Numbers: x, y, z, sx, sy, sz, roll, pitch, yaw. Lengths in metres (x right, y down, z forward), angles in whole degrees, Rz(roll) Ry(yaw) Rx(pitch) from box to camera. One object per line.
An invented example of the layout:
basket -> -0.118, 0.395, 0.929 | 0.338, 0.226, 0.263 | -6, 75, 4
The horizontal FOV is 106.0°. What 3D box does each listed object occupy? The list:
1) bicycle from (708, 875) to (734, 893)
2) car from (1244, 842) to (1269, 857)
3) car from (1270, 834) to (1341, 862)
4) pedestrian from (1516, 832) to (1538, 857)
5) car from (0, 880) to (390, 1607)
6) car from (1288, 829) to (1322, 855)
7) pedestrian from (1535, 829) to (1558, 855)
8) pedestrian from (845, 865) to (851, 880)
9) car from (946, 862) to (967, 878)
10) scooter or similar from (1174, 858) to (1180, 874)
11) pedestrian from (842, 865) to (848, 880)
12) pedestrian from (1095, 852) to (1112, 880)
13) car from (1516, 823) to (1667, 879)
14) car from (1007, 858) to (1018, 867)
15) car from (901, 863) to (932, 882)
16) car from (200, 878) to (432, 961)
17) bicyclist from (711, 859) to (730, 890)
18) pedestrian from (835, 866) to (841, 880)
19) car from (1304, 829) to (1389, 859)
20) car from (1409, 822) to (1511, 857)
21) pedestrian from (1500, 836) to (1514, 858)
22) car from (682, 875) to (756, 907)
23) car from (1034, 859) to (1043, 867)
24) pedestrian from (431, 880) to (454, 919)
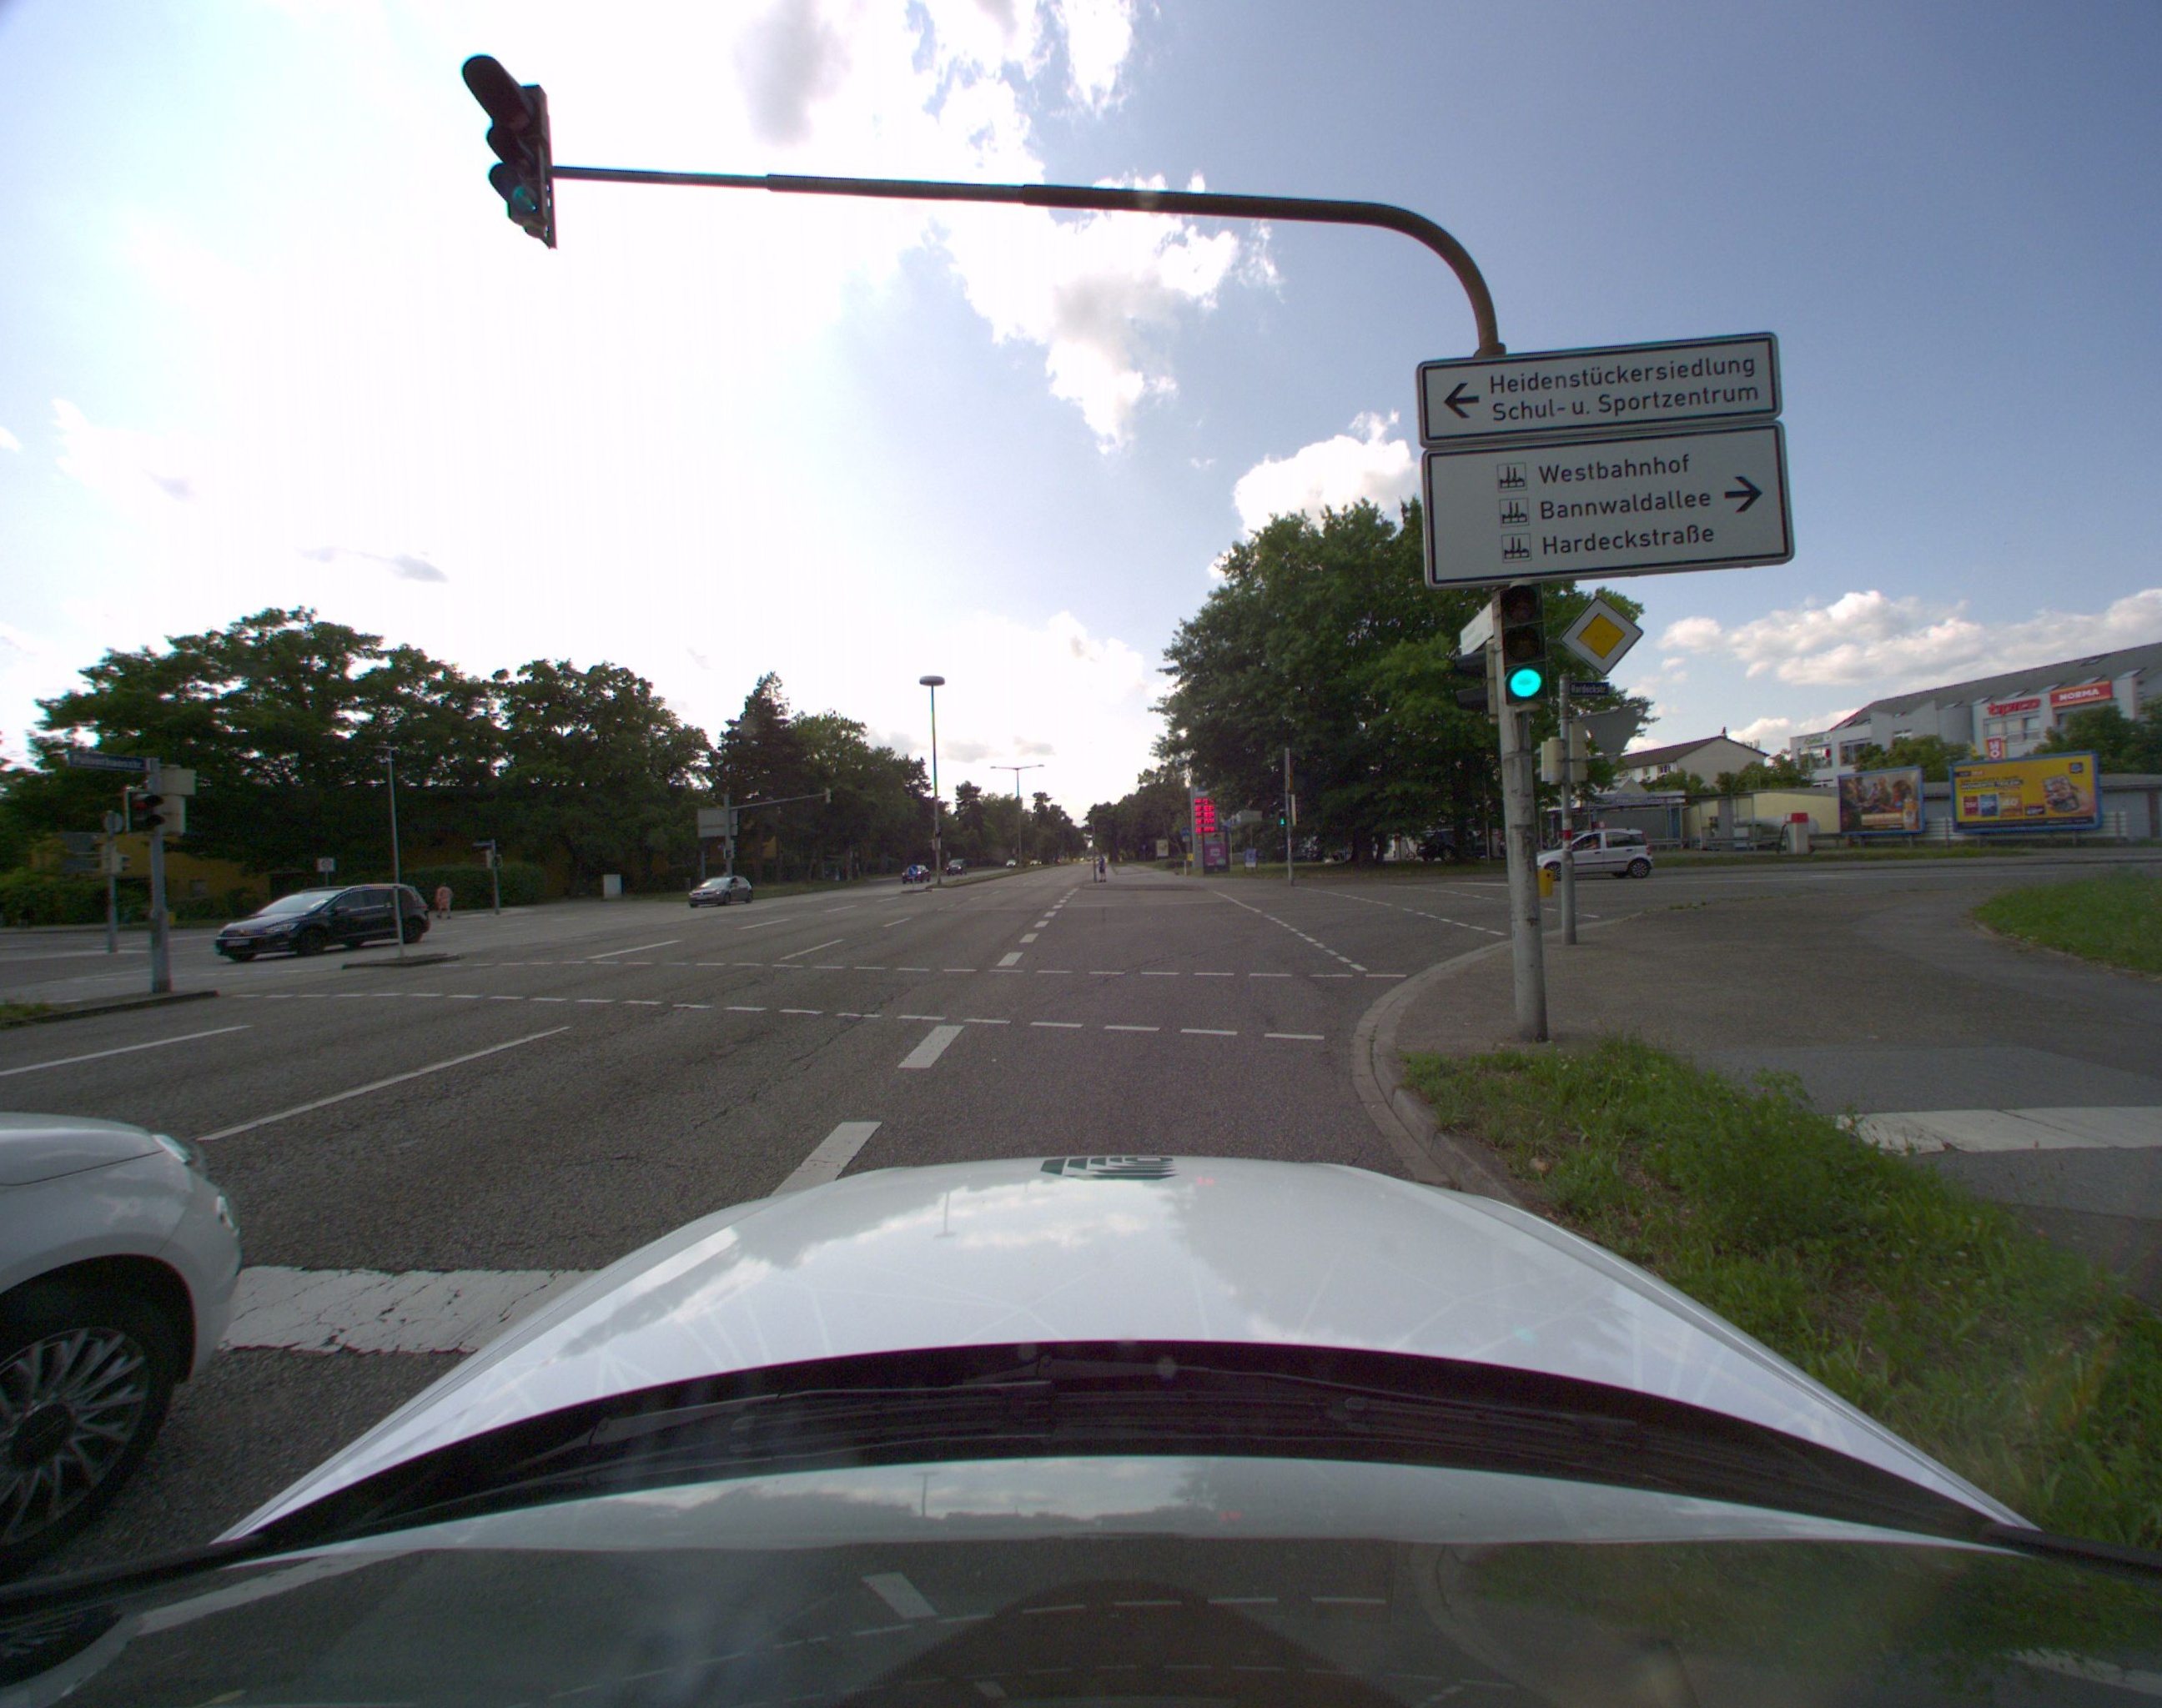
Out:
bicycle -> -23.984, 1.971, 54.283 | 0.752, 1.119, 2.114 | -3, 0, 0
car -> 18.489, -0.450, 86.008 | 1.744, 1.454, 3.740 | -3, 0, 0
car -> 18.532, -0.475, 67.292 | 5.167, 2.004, 2.152 | -3, 0, -2
pedestrian -> 21.826, -0.476, 39.887 | 0.649, 1.190, 0.757 | 1, -2, -43
car -> -3.062, 0.811, 0.855 | 1.564, 1.497, 3.541 | -1, -1, 2
car -> 22.693, -1.217, 82.782 | 1.744, 2.453, 5.749 | -3, 0, 0
pedestrian -> 22.438, -0.569, 39.251 | 0.649, 1.255, 0.757 | 1, -2, -43
pedestrian -> -23.867, 1.917, 83.416 | 0.570, 1.496, 0.419 | 0, -1, -14
car -> -15.827, 1.980, 103.684 | 1.759, 1.857, 4.818 | -3, 0, 2
scooter or similar -> 5.925, 0.724, 50.319 | 0.220, 0.979, 1.273 | -3, 0, 2
pedestrian -> -24.437, 1.937, 84.312 | 0.570, 1.496, 0.419 | 0, -1, -14
pedestrian -> 1.272, 0.660, 46.163 | 0.726, 1.531, 0.756 | -3, -1, -15
car -> 15.475, -0.079, 24.862 | 3.571, 1.517, 1.565 | -2, 0, 14
car -> -14.293, 1.824, 170.678 | 1.854, 1.705, 4.456 | -3, 0, 1
car -> -14.136, 1.573, 70.017 | 1.767, 1.465, 4.453 | -3, 0, -1
car -> -18.923, 1.539, 20.471 | 1.665, 1.742, 4.311 | -2, -1, 2
bicyclist -> -24.014, 1.387, 54.263 | 0.749, 2.013, 0.831 | -3, -1, -1
pedestrian -> -25.077, 1.937, 83.910 | 0.570, 1.496, 0.419 | 0, -1, -14
car -> 18.337, -0.678, 56.354 | 5.180, 1.827, 2.147 | -3, 0, -9
car -> 20.487, -0.765, 44.067 | 4.548, 1.596, 2.147 | -3, 0, -9
pedestrian -> 30.639, -0.516, 58.569 | 0.650, 1.544, 0.625 | -3, -1, 8
car -> -17.799, 1.787, 40.239 | 1.587, 1.372, 4.085 | -3, 0, 4
car -> -10.120, 2.095, 195.209 | 1.854, 1.705, 4.454 | -3, 0, 0
pedestrian -> -29.626, 2.089, 37.767 | 0.696, 1.742, 0.697 | -3, -1, 44
